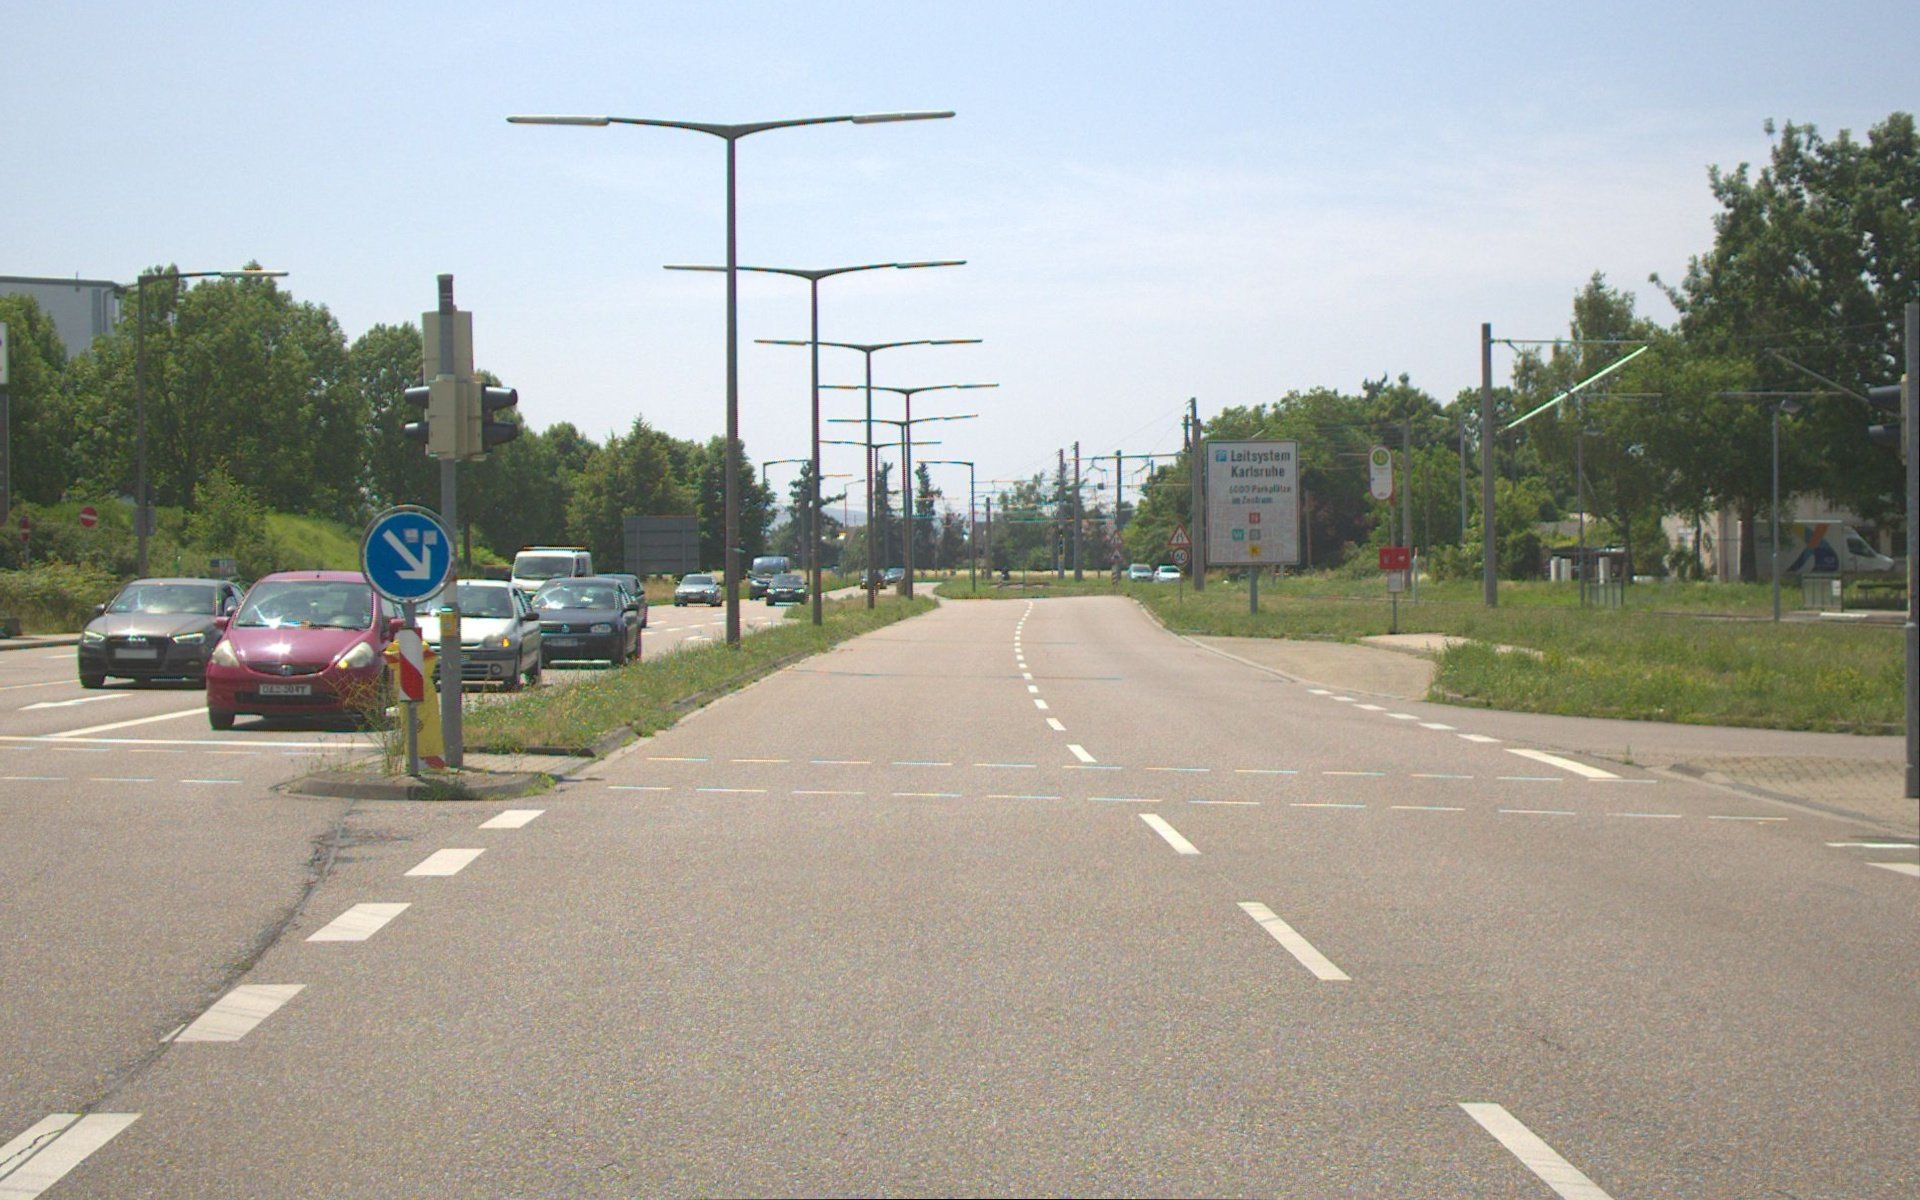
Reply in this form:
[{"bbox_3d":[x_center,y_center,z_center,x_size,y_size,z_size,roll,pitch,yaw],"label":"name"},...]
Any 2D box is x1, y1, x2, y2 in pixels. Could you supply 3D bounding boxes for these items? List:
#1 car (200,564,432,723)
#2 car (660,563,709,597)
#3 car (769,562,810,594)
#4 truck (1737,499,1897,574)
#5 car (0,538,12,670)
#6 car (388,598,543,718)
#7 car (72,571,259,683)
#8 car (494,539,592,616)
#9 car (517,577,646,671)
[{"bbox_3d":[-6.365,0.389,34.336,1.658,1.485,4.000,0,1,-1],"label":"car"},{"bbox_3d":[-12.302,-0.904,153.833,1.831,1.444,4.851,0,1,-1],"label":"car"},{"bbox_3d":[-7.931,-1.044,160.046,1.731,1.453,4.565,0,1,-1],"label":"car"},{"bbox_3d":[35.116,-2.602,140.895,5.839,2.834,2.321,-2,0,-7],"label":"truck"},{"bbox_3d":[-13.695,0.076,43.773,1.964,1.744,5.022,0,1,-1],"label":"car"},{"bbox_3d":[-6.397,0.724,44.764,1.560,1.418,3.854,0,1,-1],"label":"car"},{"bbox_3d":[-10.378,0.318,45.144,1.596,1.380,4.004,1,1,-1],"label":"car"},{"bbox_3d":[-12.797,-0.684,105.891,2.249,2.265,5.449,1,0,1],"label":"car"},{"bbox_3d":[-6.079,0.358,55.590,1.675,1.429,4.191,0,1,-1],"label":"car"}]
